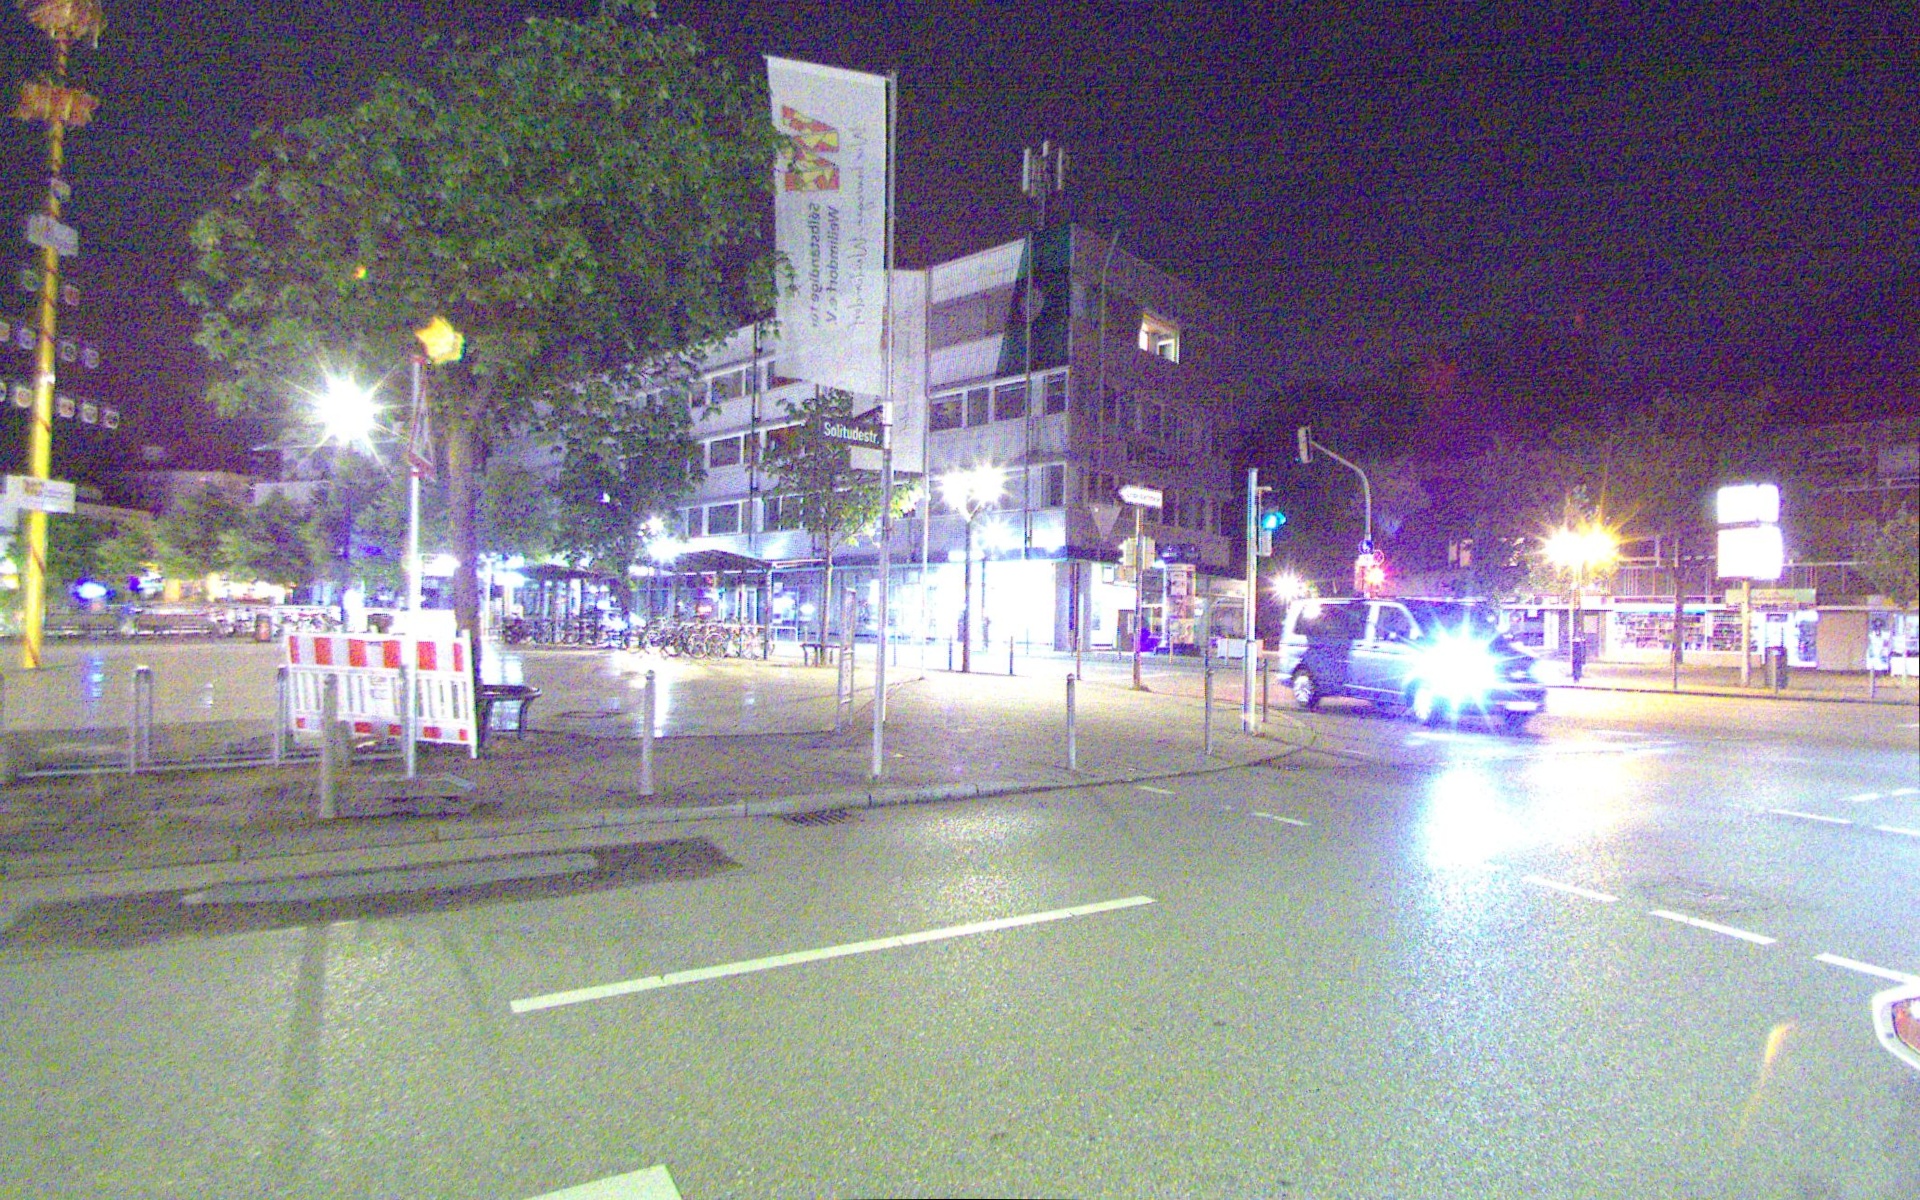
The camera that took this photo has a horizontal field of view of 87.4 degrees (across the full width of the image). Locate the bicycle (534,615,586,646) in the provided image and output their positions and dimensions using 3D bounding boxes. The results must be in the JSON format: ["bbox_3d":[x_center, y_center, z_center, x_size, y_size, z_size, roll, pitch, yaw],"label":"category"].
[{"bbox_3d":[-13.152,0.997,33.072,0.473,0.970,1.525,2,0,44],"label":"bicycle"}]

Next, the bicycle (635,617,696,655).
[{"bbox_3d":[-7.849,0.956,26.830,0.473,0.970,1.525,2,0,44],"label":"bicycle"}]

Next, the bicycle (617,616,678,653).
[{"bbox_3d":[-8.529,0.938,27.430,0.473,0.970,1.525,2,0,44],"label":"bicycle"}]

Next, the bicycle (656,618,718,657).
[{"bbox_3d":[-7.094,0.979,26.137,0.473,0.970,1.525,2,0,44],"label":"bicycle"}]

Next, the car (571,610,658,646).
[{"bbox_3d":[-15.975,1.278,46.382,4.252,1.473,1.871,2,0,41],"label":"car"}]

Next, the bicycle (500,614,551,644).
[{"bbox_3d":[-14.893,0.990,34.437,0.473,0.970,1.525,2,0,44],"label":"bicycle"}]

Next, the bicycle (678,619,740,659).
[{"bbox_3d":[-6.366,0.976,25.519,0.440,0.970,1.525,2,0,43],"label":"bicycle"}]

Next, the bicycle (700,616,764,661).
[{"bbox_3d":[-5.649,0.945,24.932,0.440,1.068,1.525,2,0,43],"label":"bicycle"}]

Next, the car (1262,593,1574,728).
[{"bbox_3d":[7.360,0.918,16.811,1.943,1.896,4.891,1,-1,-19],"label":"car"}]

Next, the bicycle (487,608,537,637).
[{"bbox_3d":[-15.547,0.792,34.890,0.473,0.970,1.525,2,0,44],"label":"bicycle"}]

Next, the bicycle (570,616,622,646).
[{"bbox_3d":[-11.989,1.026,33.096,0.473,0.970,1.525,2,0,44],"label":"bicycle"}]

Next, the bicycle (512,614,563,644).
[{"bbox_3d":[-14.182,0.984,33.745,0.473,0.970,1.525,2,0,44],"label":"bicycle"}]
